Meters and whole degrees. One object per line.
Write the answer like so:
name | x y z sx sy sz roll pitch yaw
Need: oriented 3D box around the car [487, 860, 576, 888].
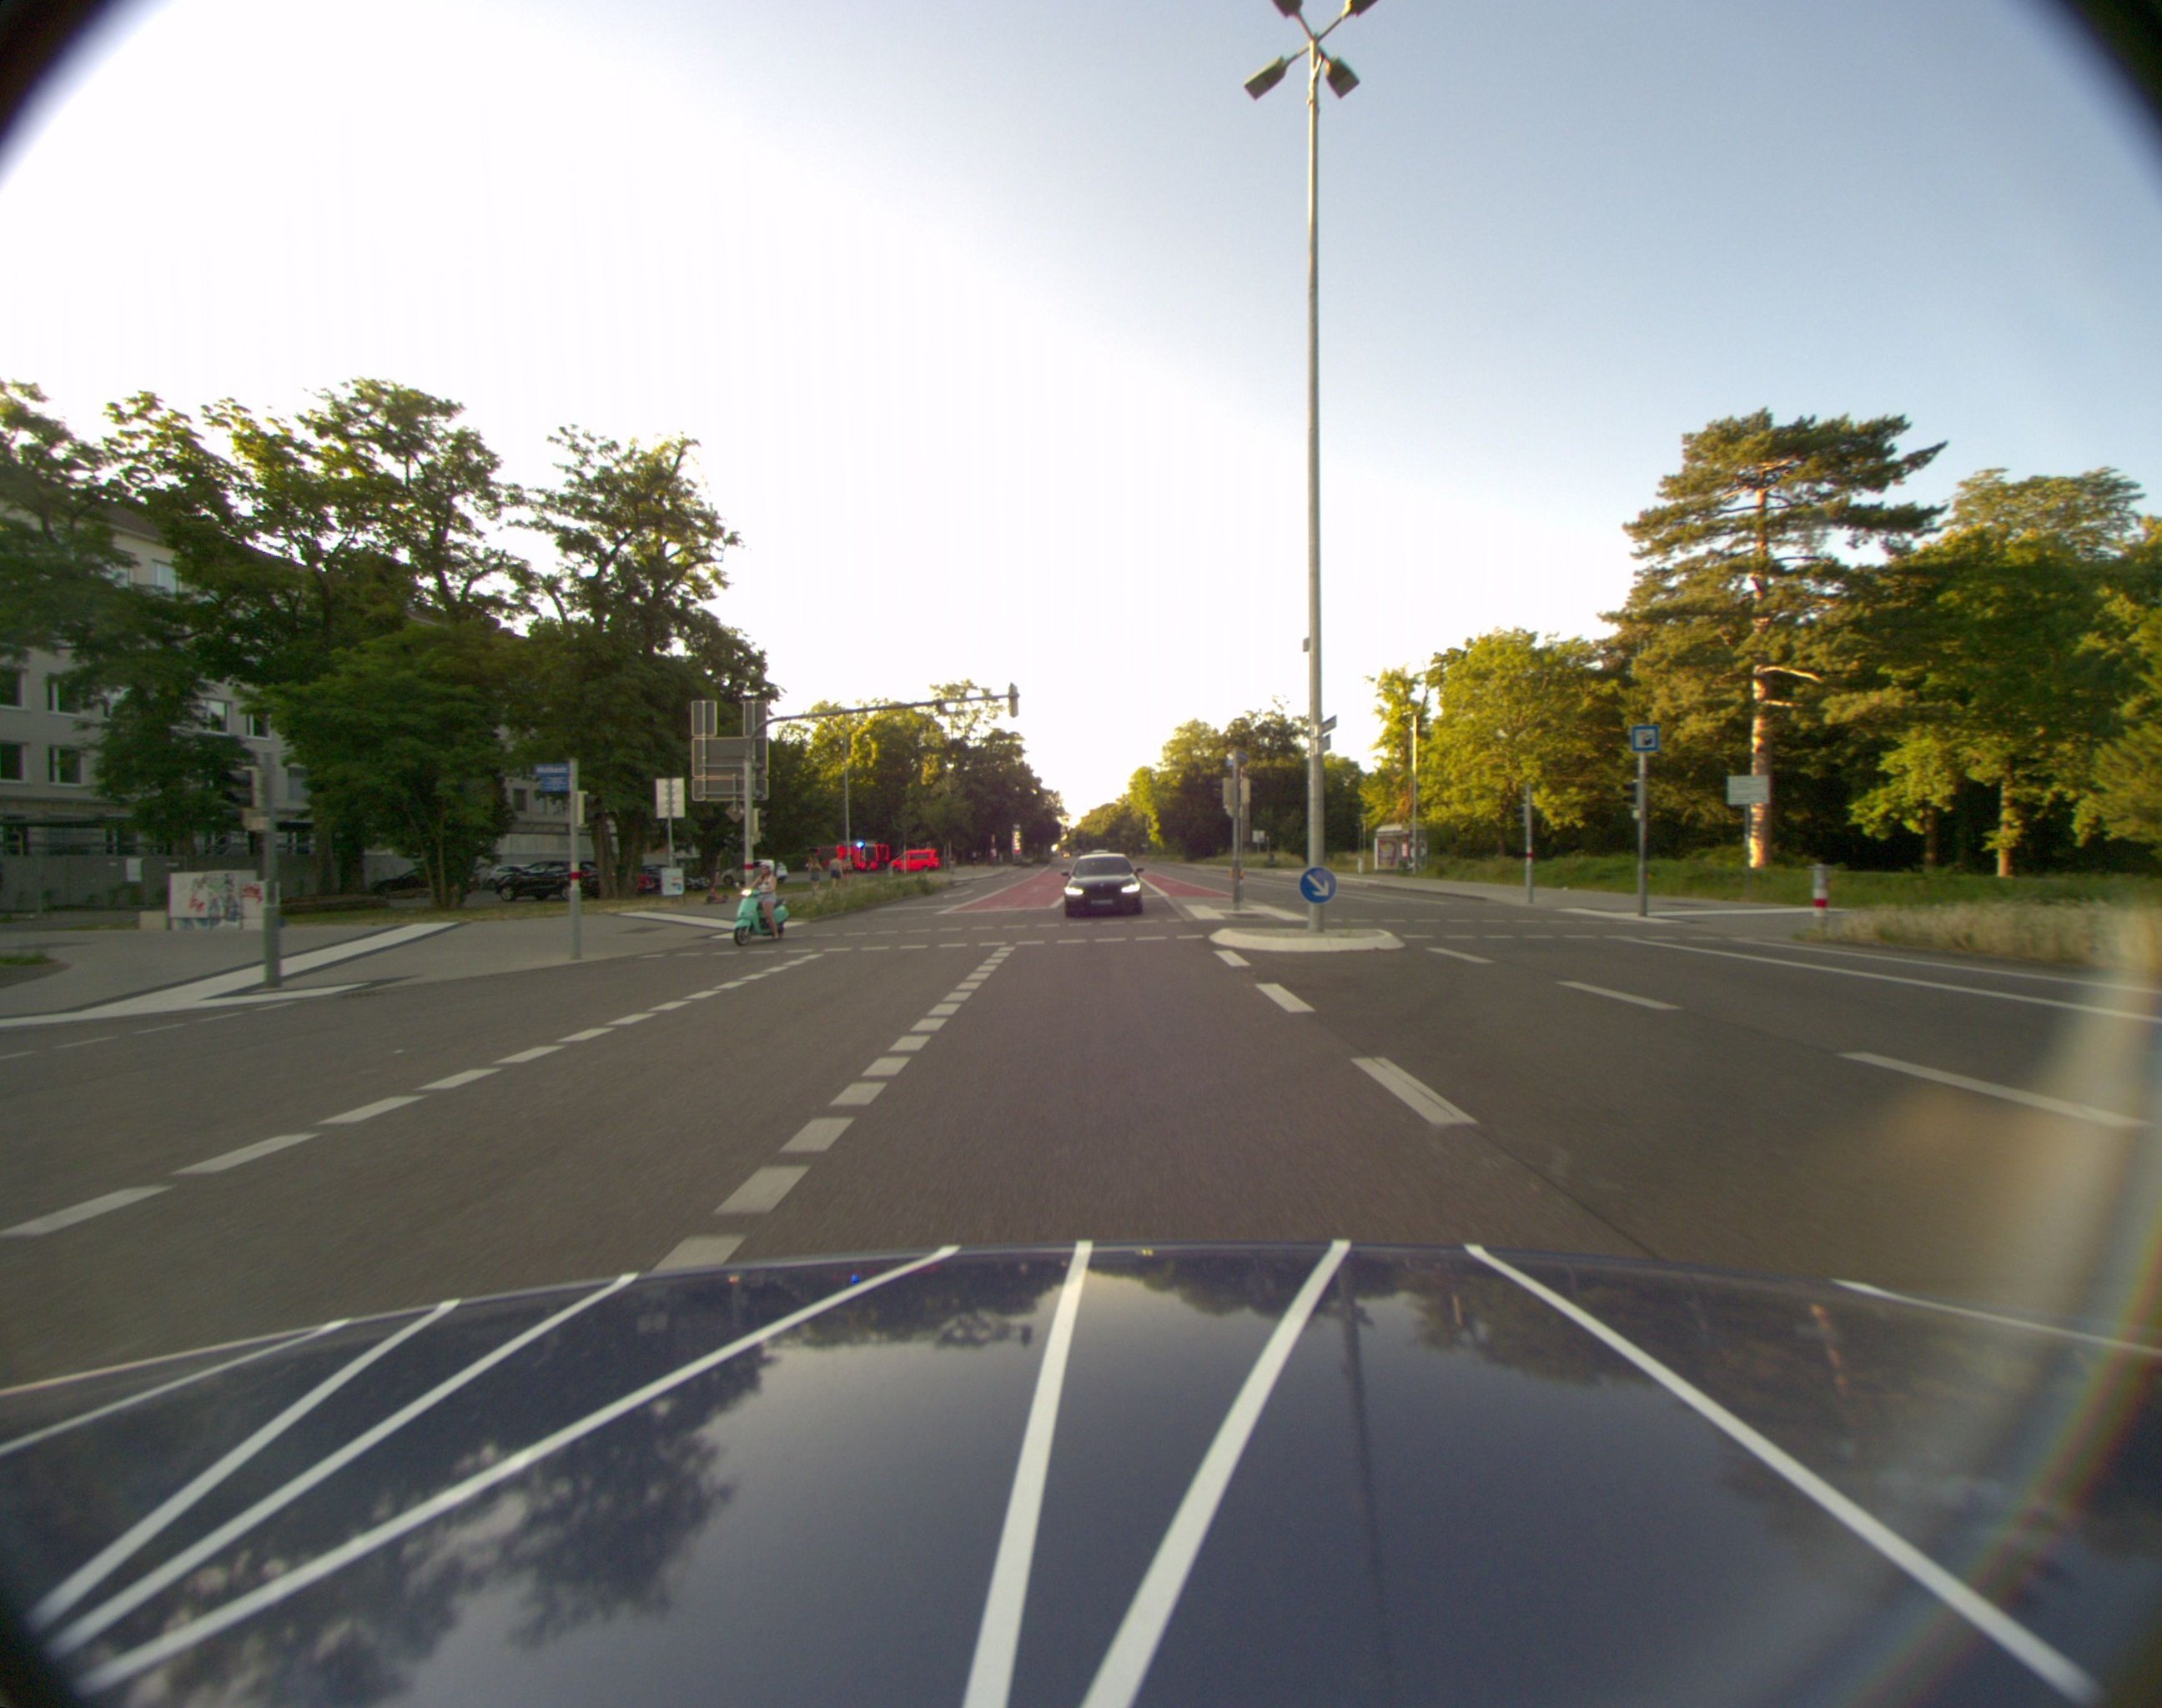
car | -31.419 1.129 43.477 3.911 1.513 1.919 -1 1 10

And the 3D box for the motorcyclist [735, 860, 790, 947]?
motorcyclist | -6.562 1.007 15.672 0.739 1.727 0.691 -1 1 10

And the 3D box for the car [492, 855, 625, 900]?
car | -21.325 0.946 31.090 4.233 1.730 1.920 -1 1 7

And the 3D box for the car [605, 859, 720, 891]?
car | -20.285 1.019 36.940 4.515 1.455 1.919 -1 1 4

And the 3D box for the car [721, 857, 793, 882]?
car | -19.735 0.913 46.352 3.661 1.451 1.665 -1 1 6

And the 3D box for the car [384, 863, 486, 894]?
car | -32.284 1.215 38.028 3.624 1.451 1.771 -1 1 3

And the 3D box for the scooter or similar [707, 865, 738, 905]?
scooter or similar | -12.014 1.028 25.460 0.441 1.264 1.179 -1 1 1

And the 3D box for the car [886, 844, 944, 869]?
car | -16.410 0.270 75.132 5.164 2.379 2.000 -1 1 4

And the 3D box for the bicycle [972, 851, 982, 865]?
bicycle | -9.578 0.394 70.186 0.571 1.233 1.899 -1 1 2

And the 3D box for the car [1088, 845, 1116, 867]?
car | 1.552 0.110 57.071 1.850 1.473 4.702 -3 0 -1

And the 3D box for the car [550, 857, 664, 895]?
car | -21.115 0.986 33.923 3.994 1.601 1.920 -1 1 8

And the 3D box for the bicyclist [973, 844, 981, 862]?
bicyclist | -9.584 -0.086 70.206 0.571 1.623 1.038 -1 1 2

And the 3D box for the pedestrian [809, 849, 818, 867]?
pedestrian | -27.889 0.382 79.242 0.683 1.831 0.845 -1 0 -5

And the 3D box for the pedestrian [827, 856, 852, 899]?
pedestrian | -9.464 0.904 29.839 0.721 1.650 0.776 -1 1 -1

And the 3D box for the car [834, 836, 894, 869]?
car | -22.056 -0.181 77.751 2.769 3.225 8.302 -1 1 8

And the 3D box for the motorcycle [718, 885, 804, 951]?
motorcycle | -6.550 1.287 15.671 0.683 1.190 1.895 -1 0 10

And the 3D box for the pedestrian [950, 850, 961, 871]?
pedestrian | -9.414 0.485 56.992 0.682 1.613 0.688 -1 0 2

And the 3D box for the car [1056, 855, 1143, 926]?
car | 0.554 0.797 19.036 1.817 1.391 5.214 -3 0 3

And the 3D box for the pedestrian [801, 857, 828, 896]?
pedestrian | -10.406 0.869 29.731 0.737 1.514 0.789 -1 1 2
